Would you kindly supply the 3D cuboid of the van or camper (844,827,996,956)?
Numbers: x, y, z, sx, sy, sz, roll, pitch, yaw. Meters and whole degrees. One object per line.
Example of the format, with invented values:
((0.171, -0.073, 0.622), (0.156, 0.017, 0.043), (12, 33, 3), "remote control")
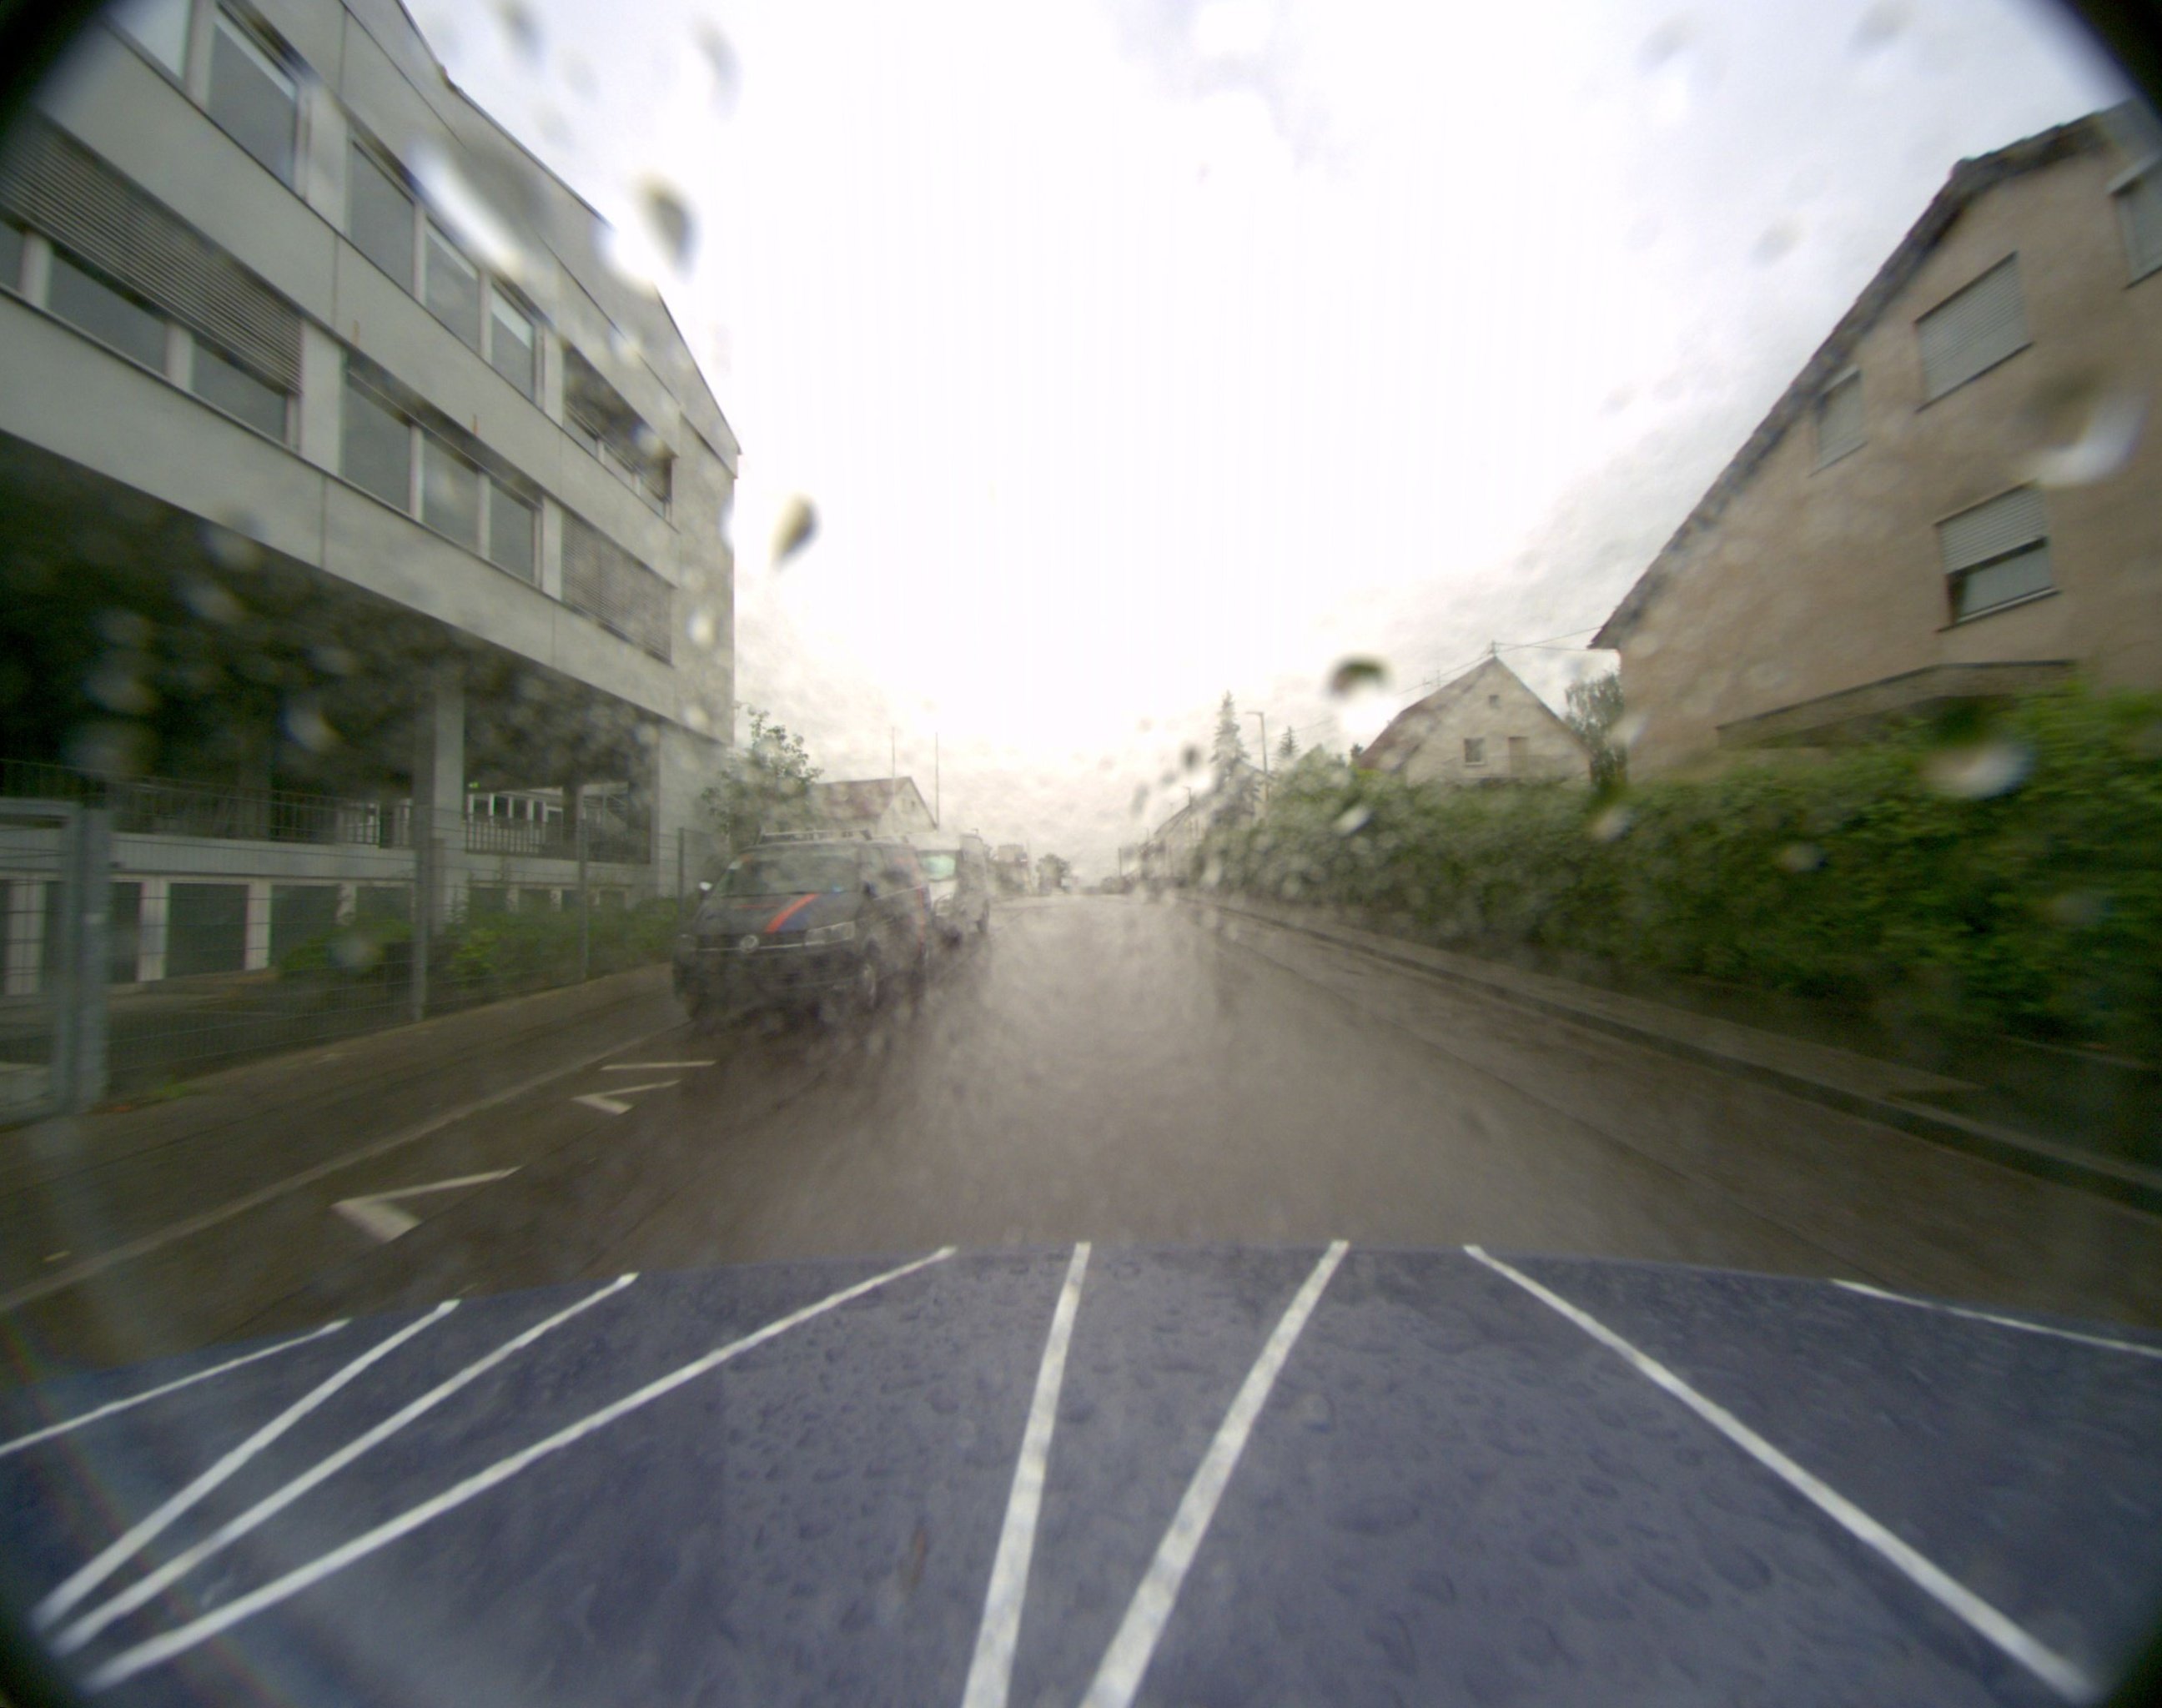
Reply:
((-3.115, 0.690, 15.999), (1.998, 2.229, 5.441), (-1, -1, 0), "van or camper")

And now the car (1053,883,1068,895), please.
((-2.598, 4.454, 97.713), (1.898, 1.537, 4.001), (0, -2, -2), "car")

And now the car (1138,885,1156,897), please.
((8.596, 4.849, 99.404), (1.898, 1.523, 4.001), (0, -2, -2), "car")

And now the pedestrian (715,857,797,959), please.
((-5.792, 0.943, 13.615), (1.026, 1.748, 1.031), (0, -2, -2), "pedestrian")

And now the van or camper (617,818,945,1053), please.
((-3.180, 0.778, 9.473), (1.998, 2.101, 5.203), (-1, -1, 0), "van or camper")
